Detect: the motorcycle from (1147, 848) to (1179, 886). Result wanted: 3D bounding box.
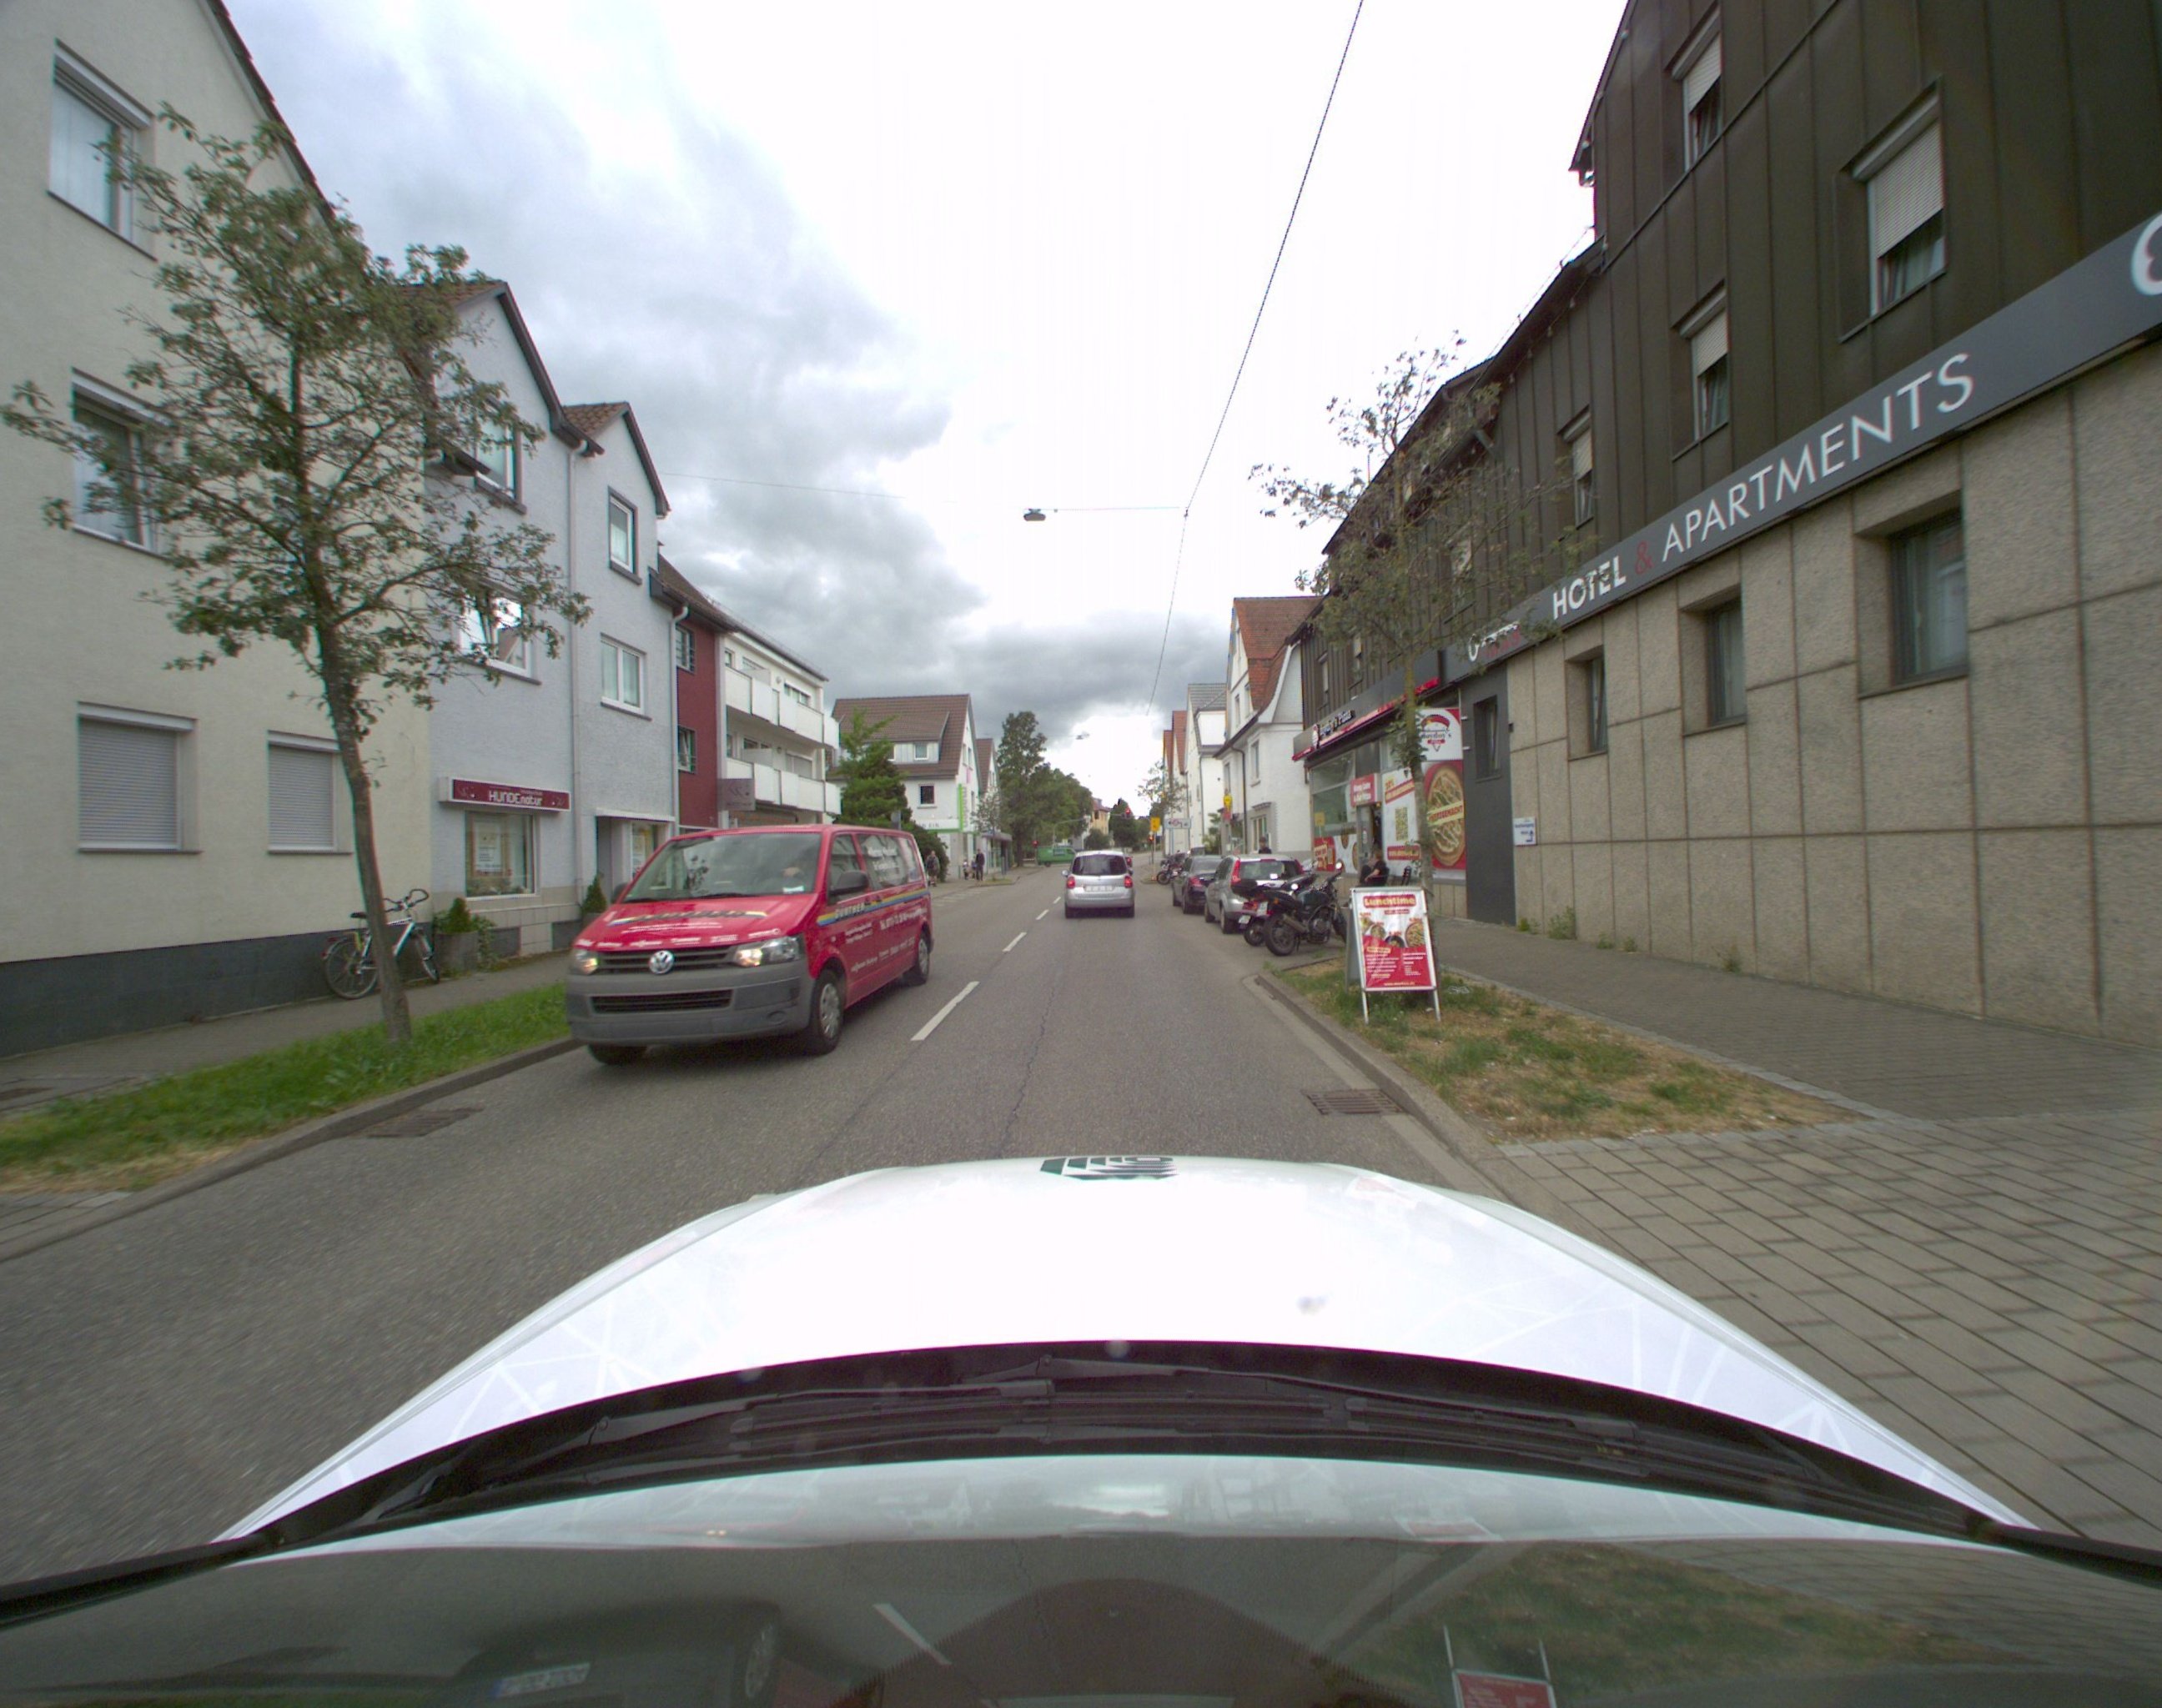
[{"bbox_3d":[3.629,0.553,36.175,0.698,1.639,2.399,-1,0,-12],"label":"motorcycle"}]

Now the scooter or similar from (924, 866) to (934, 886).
[{"bbox_3d":[-7.985,1.152,42.697,0.372,1.034,0.560,-2,0,1],"label":"scooter or similar"}]

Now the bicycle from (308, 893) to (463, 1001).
[{"bbox_3d":[-8.592,1.104,10.148,0.513,1.153,1.665,-1,0,-1],"label":"bicycle"}]

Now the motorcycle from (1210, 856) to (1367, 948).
[{"bbox_3d":[3.385,0.722,13.159,2.723,1.336,0.693,-1,-1,-29],"label":"motorcycle"}]

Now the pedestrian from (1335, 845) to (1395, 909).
[{"bbox_3d":[6.259,0.493,18.006,0.884,1.300,0.967,-5,-1,2],"label":"pedestrian"}]

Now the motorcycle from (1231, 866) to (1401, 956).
[{"bbox_3d":[3.530,0.792,12.110,2.744,1.183,0.693,-1,0,-29],"label":"motorcycle"}]

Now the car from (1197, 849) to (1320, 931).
[{"bbox_3d":[3.409,0.640,16.309,1.694,1.430,3.891,-1,0,1],"label":"car"}]

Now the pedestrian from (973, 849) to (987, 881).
[{"bbox_3d":[-5.880,0.643,47.381,0.713,1.876,0.696,-1,-1,1],"label":"pedestrian"}]

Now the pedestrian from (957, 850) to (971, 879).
[{"bbox_3d":[-7.261,0.632,50.451,0.713,1.756,0.696,-1,-1,1],"label":"pedestrian"}]

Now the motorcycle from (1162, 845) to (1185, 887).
[{"bbox_3d":[3.827,0.474,33.482,0.693,1.639,2.417,-1,0,11],"label":"motorcycle"}]

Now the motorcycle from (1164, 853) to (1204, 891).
[{"bbox_3d":[4.030,0.664,31.776,0.691,1.409,2.732,-1,0,26],"label":"motorcycle"}]

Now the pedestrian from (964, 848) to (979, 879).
[{"bbox_3d":[-6.701,0.584,49.766,0.759,1.876,0.696,-1,-1,1],"label":"pedestrian"}]

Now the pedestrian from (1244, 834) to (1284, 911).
[{"bbox_3d":[4.731,0.472,21.096,0.853,1.928,0.900,-1,-1,1],"label":"pedestrian"}]

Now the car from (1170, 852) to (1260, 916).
[{"bbox_3d":[3.358,0.705,21.124,1.694,1.467,4.240,-1,0,1],"label":"car"}]

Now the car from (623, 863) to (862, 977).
[{"bbox_3d":[-5.436,0.968,13.860,1.941,1.467,4.518,-4,0,2],"label":"car"}]

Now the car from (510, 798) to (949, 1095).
[{"bbox_3d":[-2.903,0.661,8.336,1.941,1.961,5.225,-4,0,2],"label":"car"}]

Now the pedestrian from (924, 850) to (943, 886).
[{"bbox_3d":[-7.366,0.704,40.618,0.760,1.791,0.890,-1,-1,1],"label":"pedestrian"}]

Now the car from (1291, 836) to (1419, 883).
[{"bbox_3d":[9.600,0.182,28.732,3.965,1.566,1.689,0,0,2],"label":"car"}]

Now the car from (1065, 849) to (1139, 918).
[{"bbox_3d":[0.573,0.682,20.583,1.676,1.566,3.995,0,0,2],"label":"car"}]

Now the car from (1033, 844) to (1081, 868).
[{"bbox_3d":[-2.948,0.245,100.868,5.911,2.907,2.254,-1,0,-1],"label":"car"}]
